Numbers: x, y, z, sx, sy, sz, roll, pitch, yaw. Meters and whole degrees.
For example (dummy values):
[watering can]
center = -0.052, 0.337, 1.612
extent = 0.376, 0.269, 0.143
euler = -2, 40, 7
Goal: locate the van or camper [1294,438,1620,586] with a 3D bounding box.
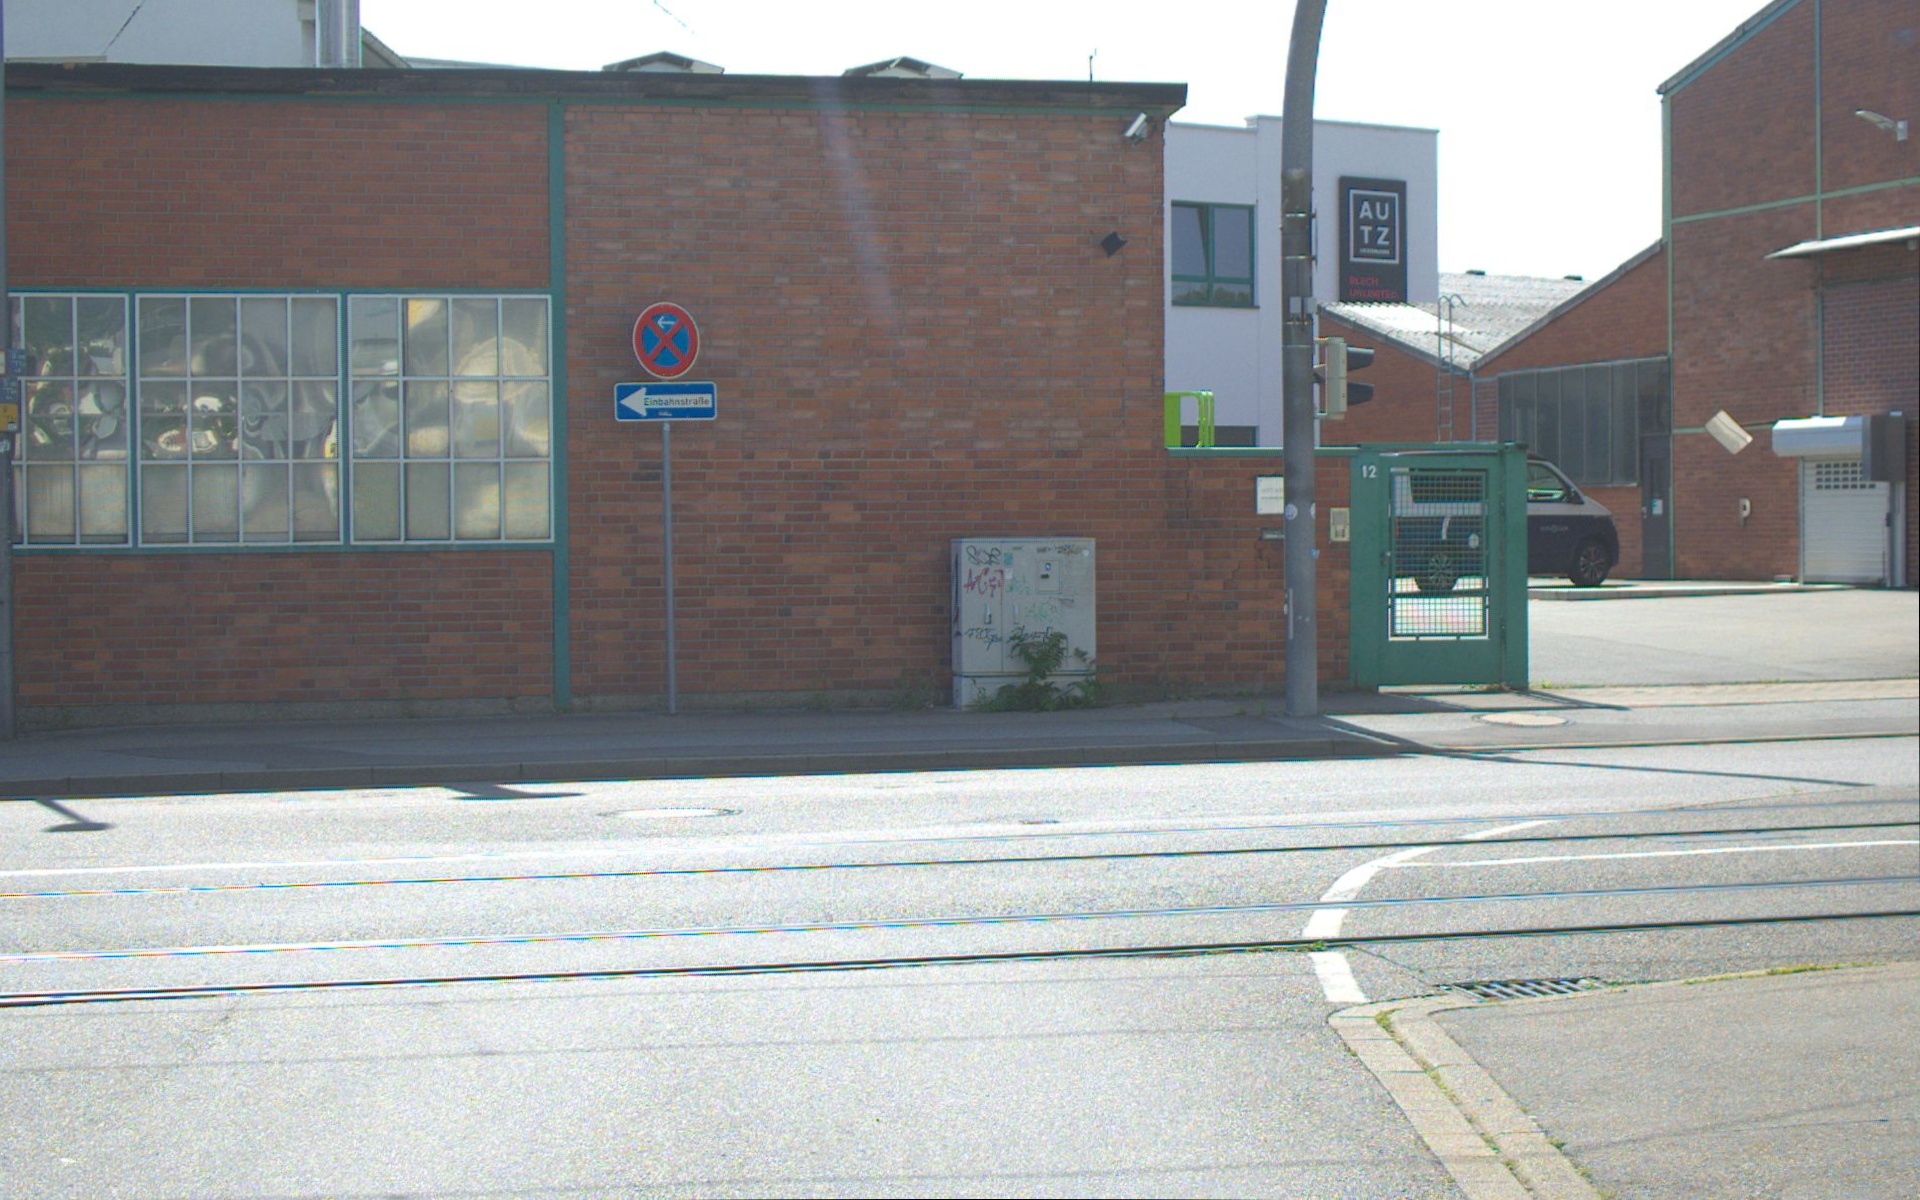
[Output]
[van or camper]
center = 7.111, -1.233, 49.030
extent = 4.407, 1.894, 2.000
euler = 2, 1, -36
